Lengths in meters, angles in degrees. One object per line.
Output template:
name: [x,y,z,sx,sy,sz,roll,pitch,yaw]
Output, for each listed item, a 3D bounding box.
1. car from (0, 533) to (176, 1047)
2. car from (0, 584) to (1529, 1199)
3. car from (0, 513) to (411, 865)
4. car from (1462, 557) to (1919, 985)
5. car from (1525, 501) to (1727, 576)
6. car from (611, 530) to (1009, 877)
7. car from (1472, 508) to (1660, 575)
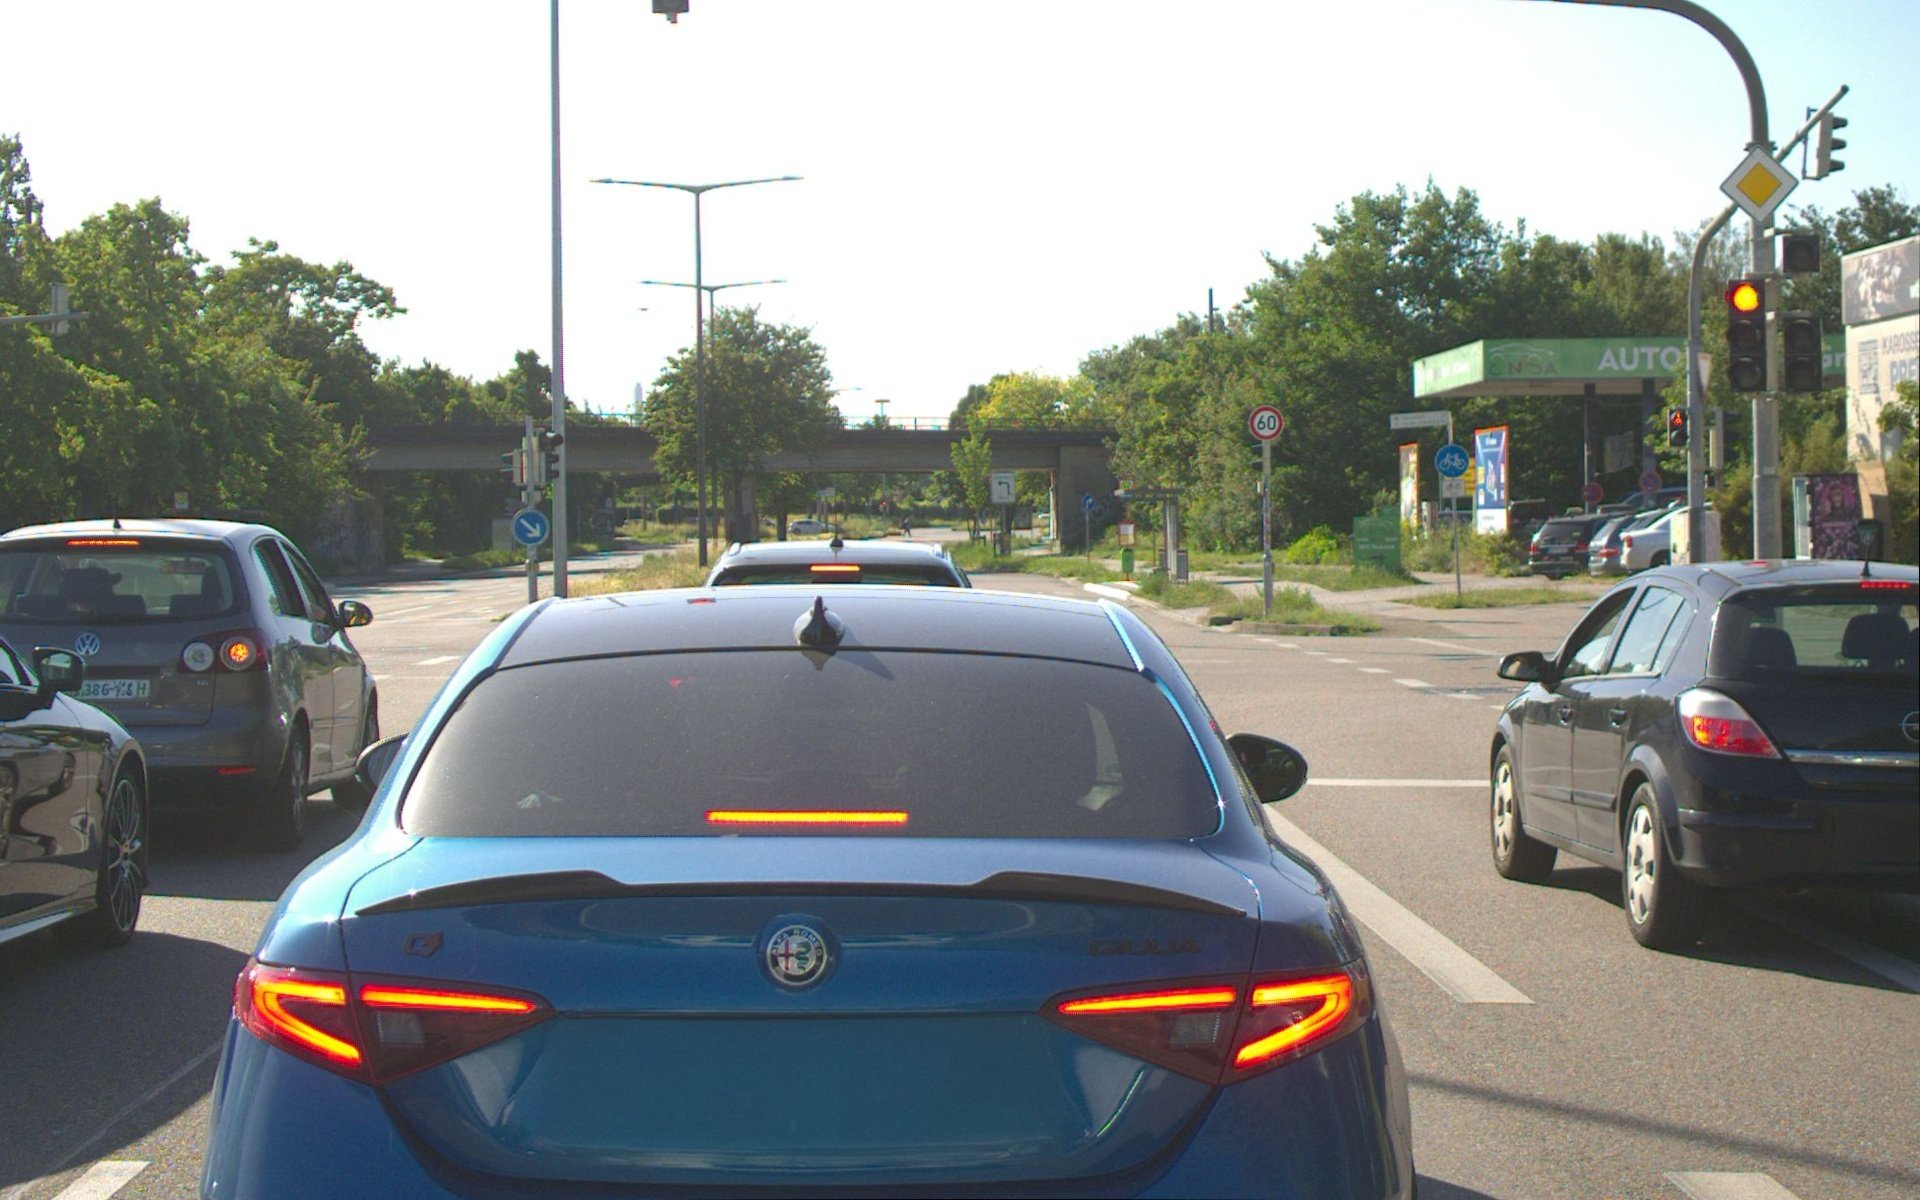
car: [-3.805,0.566,10.639,1.812,1.546,4.544,0,1,-1]
car: [-0.230,0.703,6.110,1.910,1.418,3.719,1,1,1]
car: [-3.971,0.372,17.410,1.812,1.546,4.354,1,1,-2]
car: [3.269,0.567,13.988,1.734,1.437,4.372,1,1,-1]
car: [14.440,-1.334,74.681,3.987,1.547,2.000,1,0,1]
car: [-0.629,0.433,16.868,1.704,1.492,3.719,1,1,1]
car: [14.650,-1.407,83.151,3.986,1.547,2.001,1,1,-18]
